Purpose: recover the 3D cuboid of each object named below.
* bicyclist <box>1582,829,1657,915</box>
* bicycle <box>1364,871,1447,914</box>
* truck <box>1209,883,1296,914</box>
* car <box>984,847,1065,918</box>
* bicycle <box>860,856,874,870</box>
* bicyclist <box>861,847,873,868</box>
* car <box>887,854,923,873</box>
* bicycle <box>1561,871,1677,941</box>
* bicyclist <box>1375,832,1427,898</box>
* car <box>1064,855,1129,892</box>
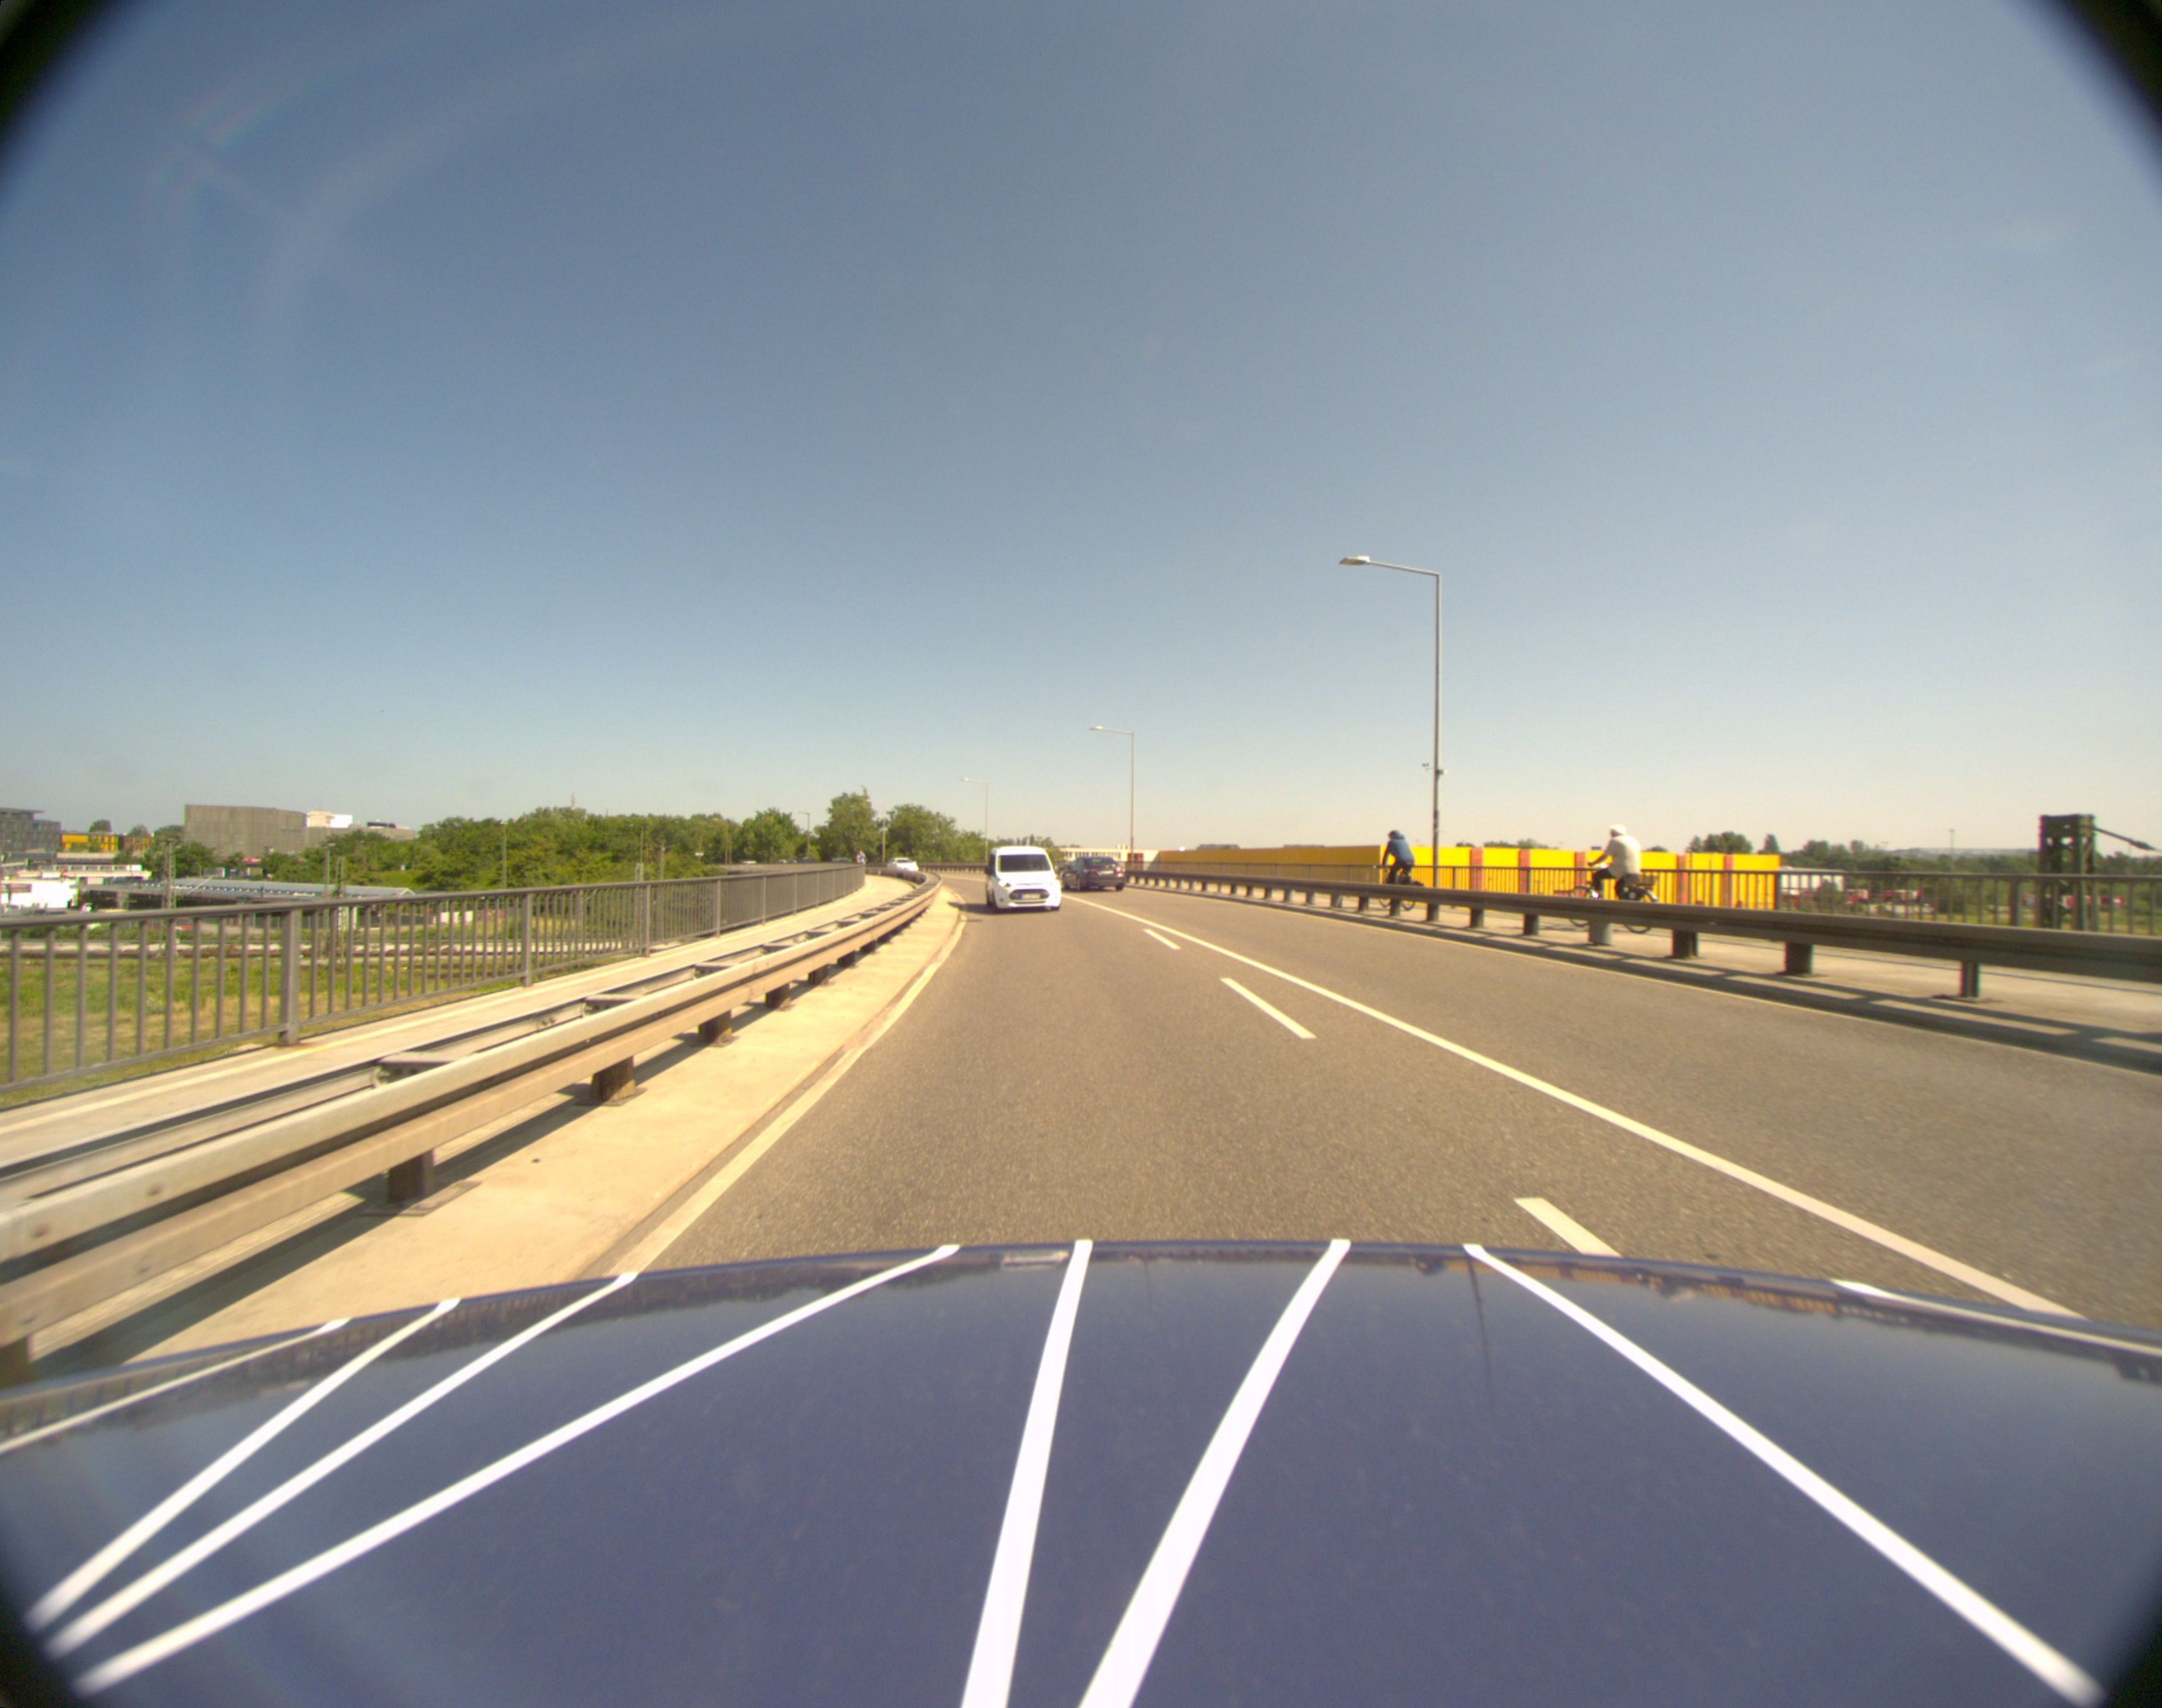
[{"bbox_3d":[8.673,0.269,12.259,0.489,1.321,0.946,-2,2,-5],"label":"bicyclist"},{"bbox_3d":[7.529,0.873,17.764,0.931,0.886,1.966,-1,0,-6],"label":"bicycle"},{"bbox_3d":[36.158,9.227,160.291,17.563,5.644,5.966,-1,1,-20],"label":"truck"},{"bbox_3d":[-1.749,0.731,22.032,1.899,1.785,4.443,-2,0,-9],"label":"car"},{"bbox_3d":[-15.620,0.670,55.470,0.705,1.013,1.842,3,-2,-24],"label":"bicycle"},{"bbox_3d":[-15.656,0.263,55.545,0.661,1.511,0.801,2,0,-24],"label":"bicyclist"},{"bbox_3d":[-14.826,0.816,63.963,1.850,1.480,4.142,-2,0,-28],"label":"car"},{"bbox_3d":[8.710,0.814,12.387,0.576,1.040,1.709,1,0,-5],"label":"bicycle"},{"bbox_3d":[7.468,0.244,17.776,0.662,1.488,1.015,-2,1,-8],"label":"bicyclist"},{"bbox_3d":[0.554,0.766,32.039,1.824,1.421,4.859,-1,0,-10],"label":"car"}]
